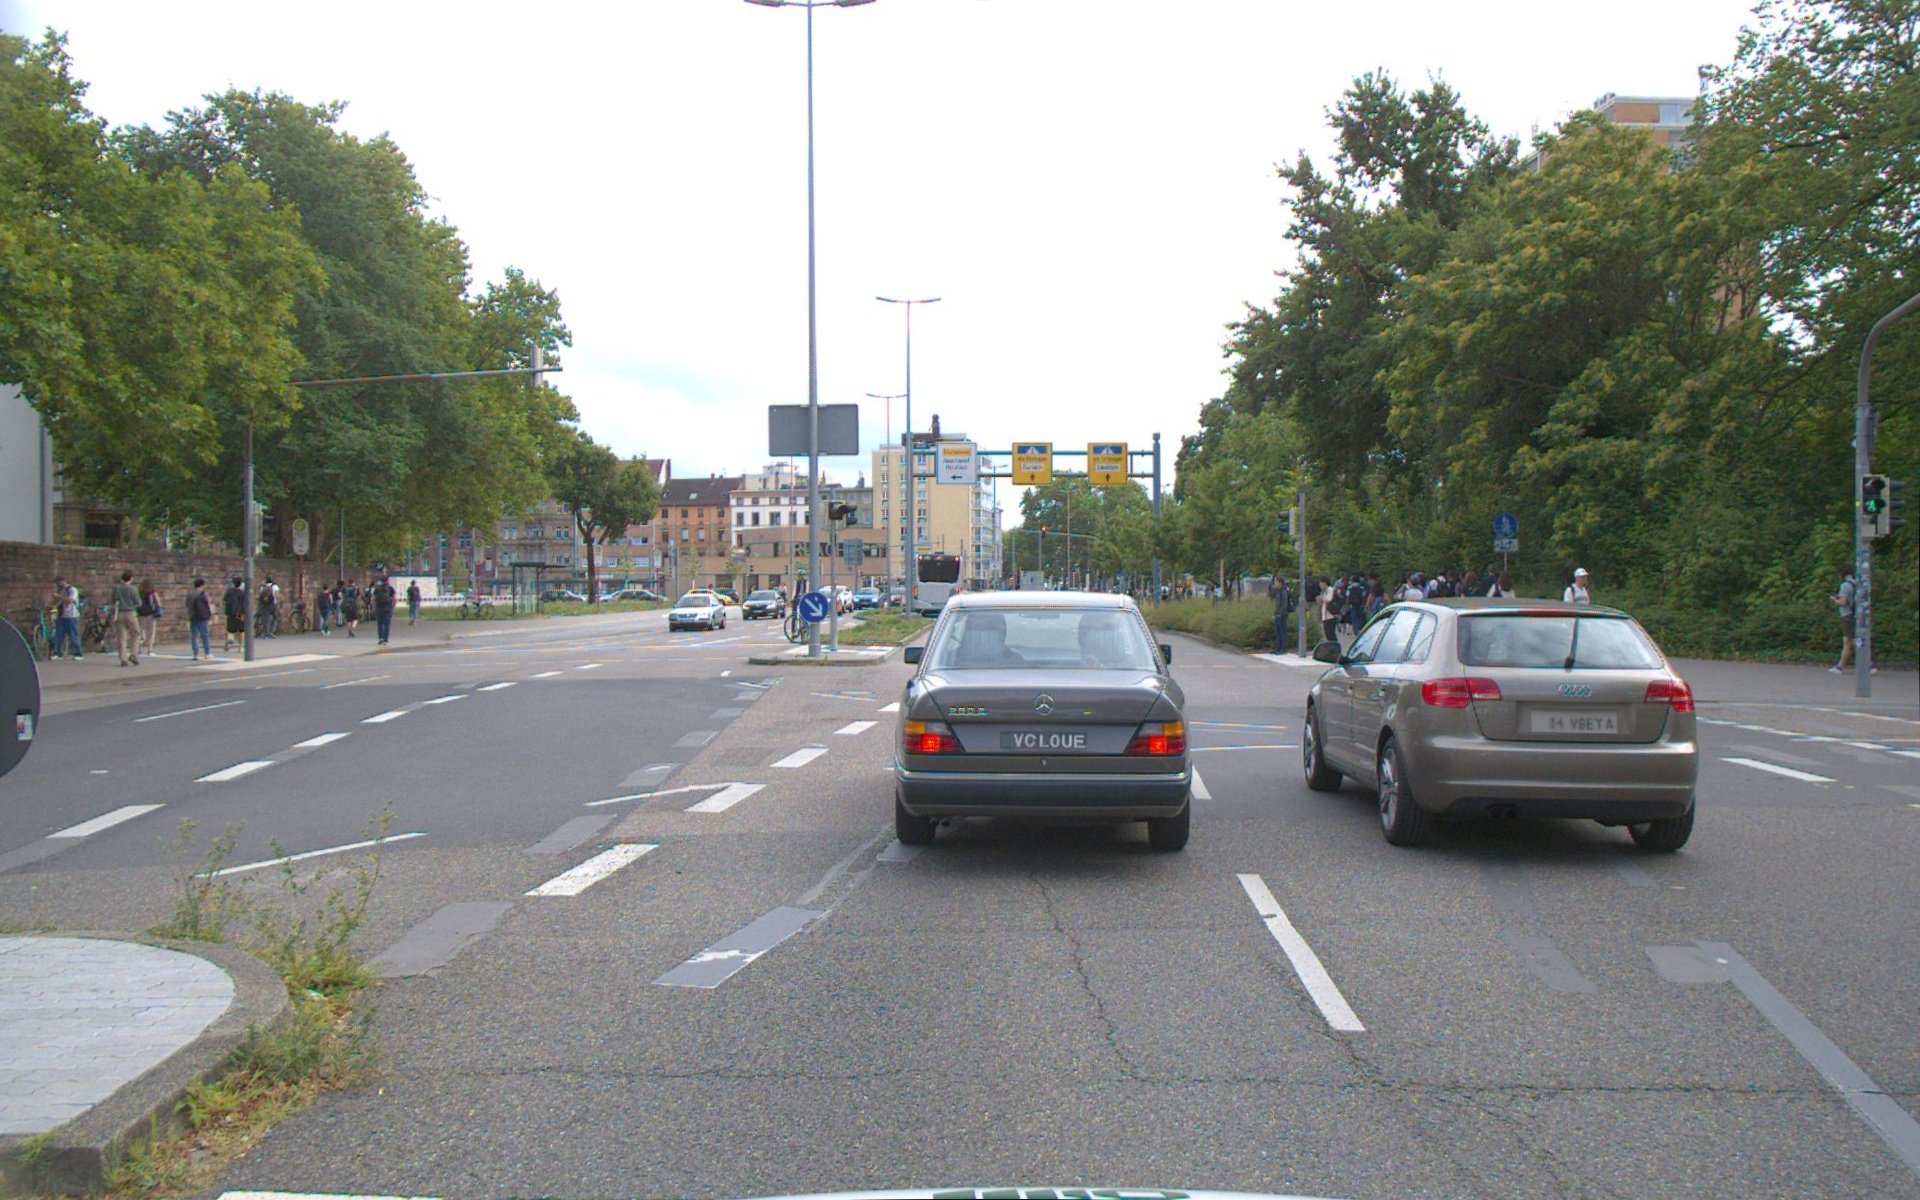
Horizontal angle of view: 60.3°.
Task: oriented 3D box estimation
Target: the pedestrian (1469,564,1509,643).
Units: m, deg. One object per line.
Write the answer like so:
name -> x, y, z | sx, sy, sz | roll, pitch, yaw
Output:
pedestrian -> 12.056, 0.078, 37.689 | 0.643, 1.776, 0.780 | 0, 0, -1

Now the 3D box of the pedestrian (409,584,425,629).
pedestrian -> -20.554, 0.242, 62.601 | 0.551, 1.697, 0.624 | 0, -2, -16

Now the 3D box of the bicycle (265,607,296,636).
bicycle -> -20.458, 0.649, 49.813 | 0.432, 0.810, 1.618 | 2, 1, -8

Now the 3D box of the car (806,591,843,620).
car -> -7.160, 0.266, 87.628 | 1.765, 1.515, 4.287 | 0, 0, -2

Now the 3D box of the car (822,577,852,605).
car -> -8.954, -0.650, 120.927 | 1.902, 2.049, 4.000 | 0, 0, 0

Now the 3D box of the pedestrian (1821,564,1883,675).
pedestrian -> 14.896, 0.316, 27.640 | 0.631, 1.827, 0.740 | 0, 0, -1

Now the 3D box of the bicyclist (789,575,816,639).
bicyclist -> -3.925, 0.169, 41.292 | 0.560, 1.601, 0.700 | 0, 0, 5

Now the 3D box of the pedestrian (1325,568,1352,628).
pedestrian -> 11.243, -0.053, 49.164 | 0.606, 1.766, 0.815 | 0, 0, 1

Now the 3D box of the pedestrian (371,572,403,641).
pedestrian -> -15.123, 0.176, 43.677 | 0.748, 1.814, 0.717 | 0, -2, -23

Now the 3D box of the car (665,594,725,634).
car -> -10.468, 0.510, 65.589 | 1.725, 1.515, 4.544 | 0, 0, -2

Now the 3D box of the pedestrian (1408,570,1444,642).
pedestrian -> 11.391, 0.141, 40.446 | 0.643, 1.719, 0.842 | 0, 0, -1

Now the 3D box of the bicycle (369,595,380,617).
bicycle -> -24.905, 0.264, 70.351 | 0.341, 0.893, 1.515 | 2, -1, -16

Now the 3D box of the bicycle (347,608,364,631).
bicycle -> -22.738, 0.716, 62.239 | 0.433, 0.842, 1.613 | 2, -1, -16

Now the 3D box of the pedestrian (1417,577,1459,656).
pedestrian -> 11.211, 0.383, 38.803 | 0.643, 1.797, 0.957 | -2, 0, -1

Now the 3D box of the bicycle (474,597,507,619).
bicycle -> -20.706, 0.345, 72.939 | 0.460, 0.935, 2.341 | 0, 0, 9

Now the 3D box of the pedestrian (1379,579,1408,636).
pedestrian -> 12.258, 0.209, 46.757 | 0.622, 1.611, 0.785 | 0, 0, 1

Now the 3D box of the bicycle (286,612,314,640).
bicycle -> -20.768, 0.803, 52.056 | 0.432, 0.810, 1.618 | 2, 1, -8

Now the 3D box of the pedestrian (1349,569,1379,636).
pedestrian -> 11.255, 0.070, 46.103 | 0.642, 1.853, 0.812 | 0, 0, 1

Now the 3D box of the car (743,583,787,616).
car -> -10.272, -0.038, 87.342 | 1.858, 1.644, 4.743 | 0, 0, -1

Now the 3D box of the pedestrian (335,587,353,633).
pedestrian -> -21.589, 0.350, 57.930 | 0.578, 1.620, 0.731 | 0, -2, -22

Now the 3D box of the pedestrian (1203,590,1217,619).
pedestrian -> 13.186, 0.222, 87.109 | 0.643, 1.496, 0.562 | -1, 0, 18

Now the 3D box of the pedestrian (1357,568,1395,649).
pedestrian -> 9.253, 0.189, 36.819 | 0.643, 1.776, 0.780 | 0, 0, -1

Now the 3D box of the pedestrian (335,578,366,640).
pedestrian -> -18.016, 0.269, 48.906 | 0.750, 1.814, 0.916 | 1, -2, -28

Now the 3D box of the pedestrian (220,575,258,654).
pedestrian -> -16.741, 0.345, 38.394 | 0.750, 1.814, 0.777 | 1, -2, -28

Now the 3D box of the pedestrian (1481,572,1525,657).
pedestrian -> 11.516, 0.312, 35.099 | 0.643, 1.776, 0.780 | 0, 0, -1

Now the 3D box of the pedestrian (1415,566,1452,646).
pedestrian -> 10.646, 0.136, 37.188 | 0.569, 1.776, 0.789 | 0, 0, -1

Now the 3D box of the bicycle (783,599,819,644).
bicycle -> -3.959, 0.521, 41.358 | 0.561, 1.074, 1.927 | 0, 0, 5

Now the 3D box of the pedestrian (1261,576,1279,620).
pedestrian -> 12.231, -0.079, 65.185 | 0.575, 1.712, 0.748 | 0, 0, 1

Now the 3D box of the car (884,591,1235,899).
car -> 0.505, 0.704, 10.245 | 1.725, 1.515, 4.171 | 0, 0, 0

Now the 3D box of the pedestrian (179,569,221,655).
pedestrian -> -16.381, 0.269, 35.647 | 0.750, 1.814, 0.776 | 1, -2, -29

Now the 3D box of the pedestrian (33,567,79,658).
pedestrian -> -18.215, 0.259, 33.335 | 0.738, 1.814, 0.775 | 1, -2, -34

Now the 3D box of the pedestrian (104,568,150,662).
pedestrian -> -16.349, 0.306, 32.474 | 0.737, 1.814, 0.775 | 1, -2, -32

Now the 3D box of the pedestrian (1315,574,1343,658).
pedestrian -> 7.785, 0.330, 34.898 | 0.445, 1.765, 0.637 | 0, 0, -1

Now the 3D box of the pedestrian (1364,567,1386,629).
pedestrian -> 12.205, -0.066, 48.613 | 0.474, 1.794, 0.664 | 0, 0, 1

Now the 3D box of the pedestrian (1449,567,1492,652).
pedestrian -> 10.813, 0.192, 35.066 | 0.643, 1.776, 0.780 | 0, 0, -1

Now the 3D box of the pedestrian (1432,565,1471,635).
pedestrian -> 12.203, -0.003, 41.065 | 0.643, 1.696, 0.971 | 0, 0, -1

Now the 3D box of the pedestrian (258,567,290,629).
pedestrian -> -19.334, -0.061, 46.587 | 0.750, 1.700, 0.916 | 1, 1, -28

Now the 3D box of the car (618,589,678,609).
car -> -25.380, -0.086, 134.777 | 4.577, 1.501, 1.659 | 1, 0, -4

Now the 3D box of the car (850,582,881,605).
car -> -6.222, -0.427, 109.388 | 1.764, 1.538, 4.104 | 0, 0, 0

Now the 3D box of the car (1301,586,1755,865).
car -> 3.416, 0.658, 10.695 | 1.689, 1.483, 3.736 | 0, 0, 0

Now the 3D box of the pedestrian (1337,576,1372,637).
pedestrian -> 10.632, 0.175, 44.559 | 0.759, 1.630, 0.812 | -1, 0, 1

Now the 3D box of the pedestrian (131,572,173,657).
pedestrian -> -17.607, 0.327, 36.026 | 0.751, 1.814, 0.776 | 1, -2, -31

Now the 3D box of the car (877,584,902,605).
car -> -5.470, -0.417, 128.317 | 1.539, 1.515, 3.638 | -3, 0, 2

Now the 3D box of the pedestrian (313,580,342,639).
pedestrian -> -19.459, 0.303, 50.883 | 0.750, 1.814, 0.777 | 1, -2, -28

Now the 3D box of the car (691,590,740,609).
car -> -20.035, -0.042, 135.443 | 3.780, 1.544, 1.659 | 1, 0, -4

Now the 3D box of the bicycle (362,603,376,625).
bicycle -> -24.339, 0.575, 68.124 | 0.409, 0.893, 1.549 | 2, -1, -16

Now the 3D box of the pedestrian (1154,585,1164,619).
pedestrian -> 12.267, 0.118, 101.959 | 0.601, 2.049, 0.597 | 0, 0, 0

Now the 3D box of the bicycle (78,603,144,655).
bicycle -> -18.541, 0.617, 36.149 | 0.538, 1.077, 1.978 | 3, 0, -5

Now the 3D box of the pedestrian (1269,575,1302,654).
pedestrian -> 7.371, 0.320, 37.463 | 0.589, 1.765, 0.654 | 0, 0, -1

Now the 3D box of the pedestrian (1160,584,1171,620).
pedestrian -> 12.004, 0.119, 96.575 | 0.601, 2.049, 0.597 | 0, 0, 0

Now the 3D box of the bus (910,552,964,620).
bus -> -1.207, -0.746, 88.190 | 2.773, 3.449, 8.181 | 0, 0, -1

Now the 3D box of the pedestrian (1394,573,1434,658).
pedestrian -> 9.652, 0.321, 35.207 | 0.611, 1.776, 0.780 | 0, 0, -1

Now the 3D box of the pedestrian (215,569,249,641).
pedestrian -> -18.608, 0.148, 42.266 | 0.750, 1.814, 0.906 | 1, -2, -28

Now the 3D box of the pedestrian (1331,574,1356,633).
pedestrian -> 10.958, 0.094, 47.253 | 0.544, 1.684, 0.753 | 0, 0, 1

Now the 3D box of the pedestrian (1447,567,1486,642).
pedestrian -> 11.910, 0.101, 38.902 | 0.643, 1.729, 0.780 | 0, 0, -1

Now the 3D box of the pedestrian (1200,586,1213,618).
pedestrian -> 13.636, 0.102, 91.505 | 0.632, 1.743, 0.562 | -1, 0, 16

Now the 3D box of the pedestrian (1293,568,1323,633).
pedestrian -> 10.038, 0.024, 47.697 | 0.678, 1.853, 0.954 | 0, 0, 1

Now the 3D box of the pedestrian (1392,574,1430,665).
pedestrian -> 8.553, 0.363, 31.396 | 0.534, 1.716, 0.637 | 0, 0, -1

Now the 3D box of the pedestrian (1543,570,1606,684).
pedestrian -> 10.402, 0.454, 28.012 | 0.633, 1.885, 0.826 | 1, 0, -13

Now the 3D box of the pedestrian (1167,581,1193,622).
pedestrian -> 10.028, 0.056, 75.318 | 0.916, 1.862, 0.886 | -1, 0, 28
